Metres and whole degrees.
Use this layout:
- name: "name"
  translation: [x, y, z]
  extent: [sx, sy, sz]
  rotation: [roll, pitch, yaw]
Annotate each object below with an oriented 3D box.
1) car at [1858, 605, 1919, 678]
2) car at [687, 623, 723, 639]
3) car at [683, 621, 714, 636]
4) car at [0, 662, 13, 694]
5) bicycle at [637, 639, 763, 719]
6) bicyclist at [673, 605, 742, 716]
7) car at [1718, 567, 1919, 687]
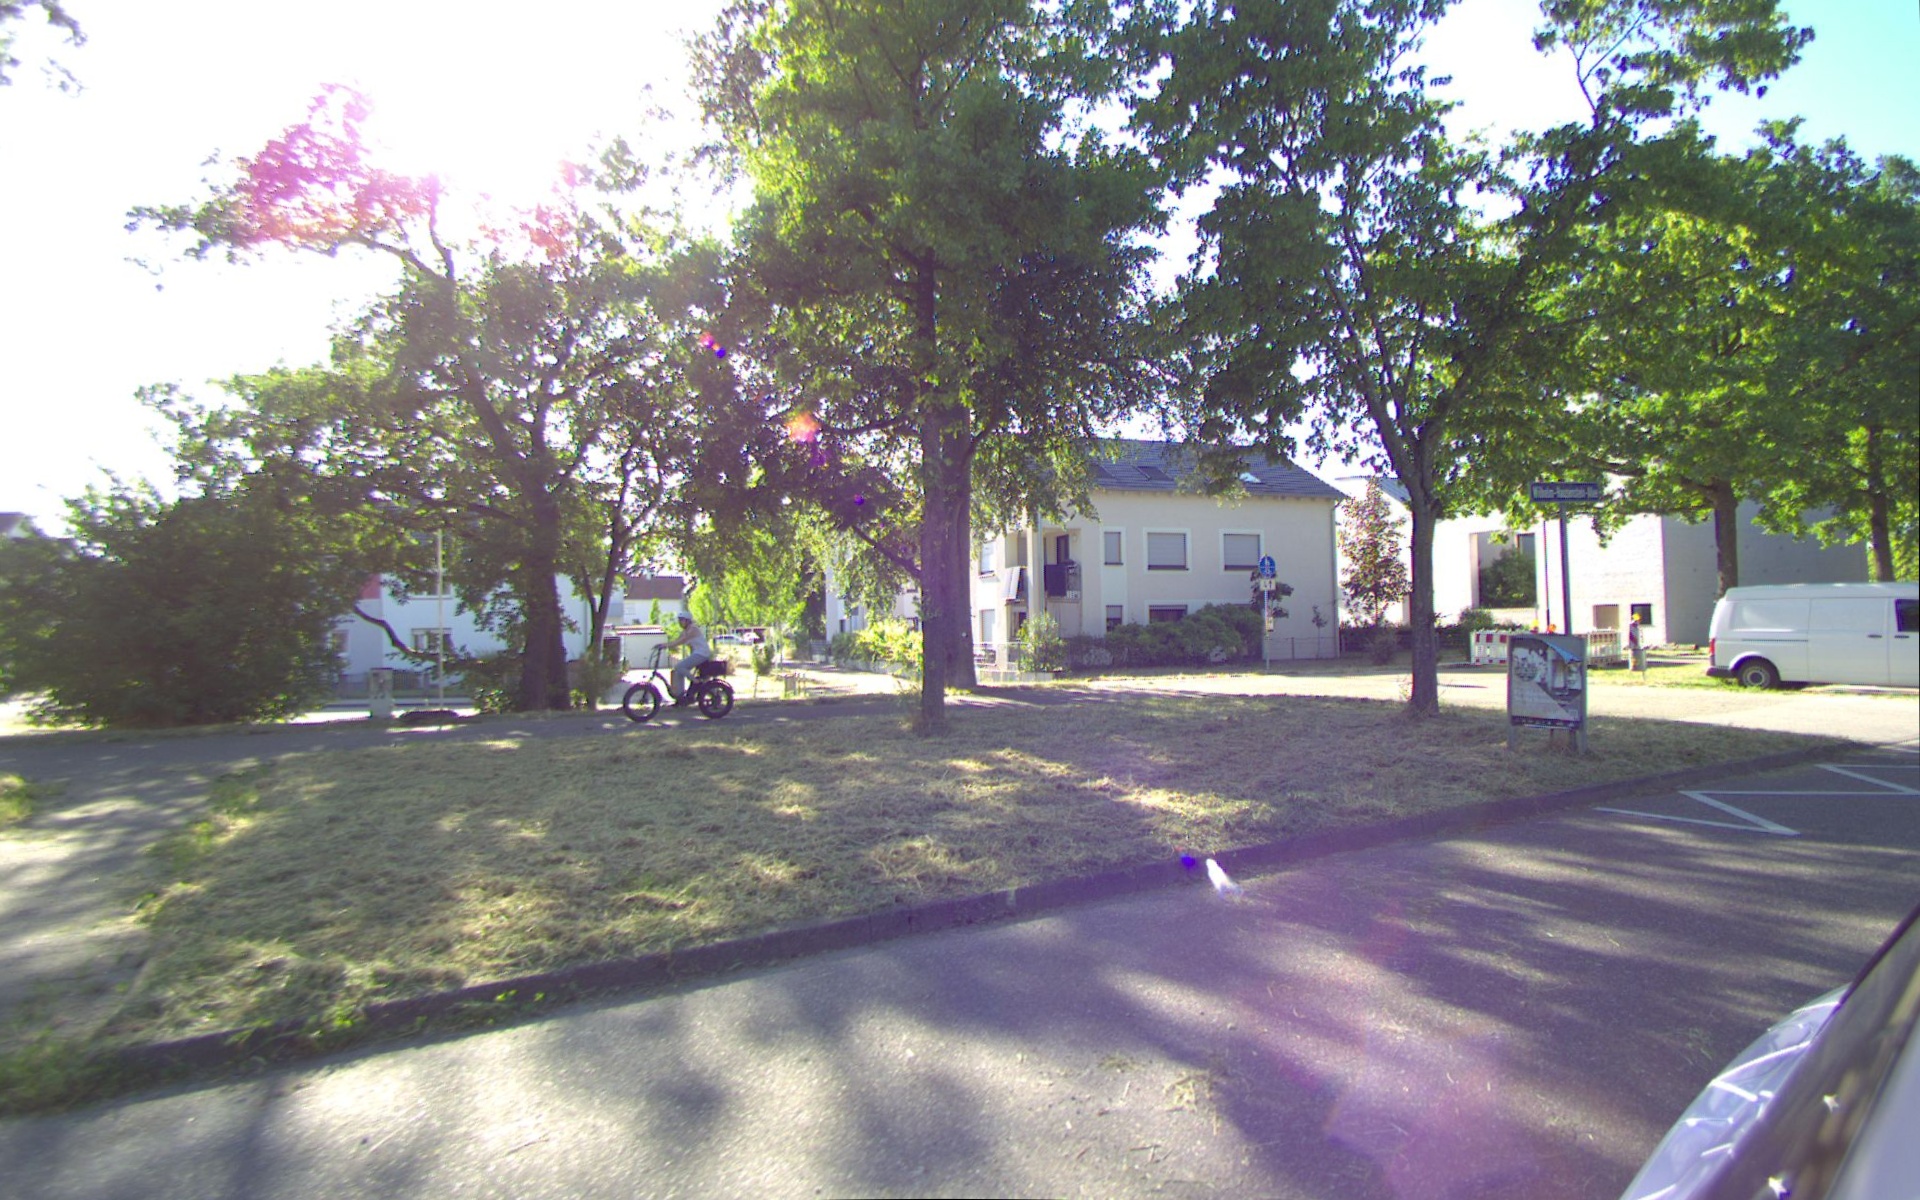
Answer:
- name: "car"
  translation: [21.816, 0.841, 21.272]
  extent: [1.722, 1.583, 4.003]
  rotation: [0, -3, -29]
- name: "car"
  translation: [-36.237, 4.403, 143.905]
  extent: [4.532, 2.040, 1.999]
  rotation: [0, -3, -35]
- name: "car"
  translation: [-40.074, 4.379, 155.210]
  extent: [4.523, 2.040, 2.003]
  rotation: [-1, -2, -15]
- name: "car"
  translation: [-46.837, 3.736, 47.845]
  extent: [1.420, 1.518, 3.645]
  rotation: [-1, -2, -14]
- name: "bicycle"
  translation: [-4.079, 1.216, 15.925]
  extent: [1.794, 1.165, 0.678]
  rotation: [0, -3, -32]
- name: "bicyclist"
  translation: [-3.980, 0.942, 15.956]
  extent: [0.832, 1.687, 0.727]
  rotation: [-1, -3, -32]
- name: "car"
  translation: [17.375, 0.485, 18.680]
  extent: [1.853, 2.108, 5.052]
  rotation: [0, -1, -31]
